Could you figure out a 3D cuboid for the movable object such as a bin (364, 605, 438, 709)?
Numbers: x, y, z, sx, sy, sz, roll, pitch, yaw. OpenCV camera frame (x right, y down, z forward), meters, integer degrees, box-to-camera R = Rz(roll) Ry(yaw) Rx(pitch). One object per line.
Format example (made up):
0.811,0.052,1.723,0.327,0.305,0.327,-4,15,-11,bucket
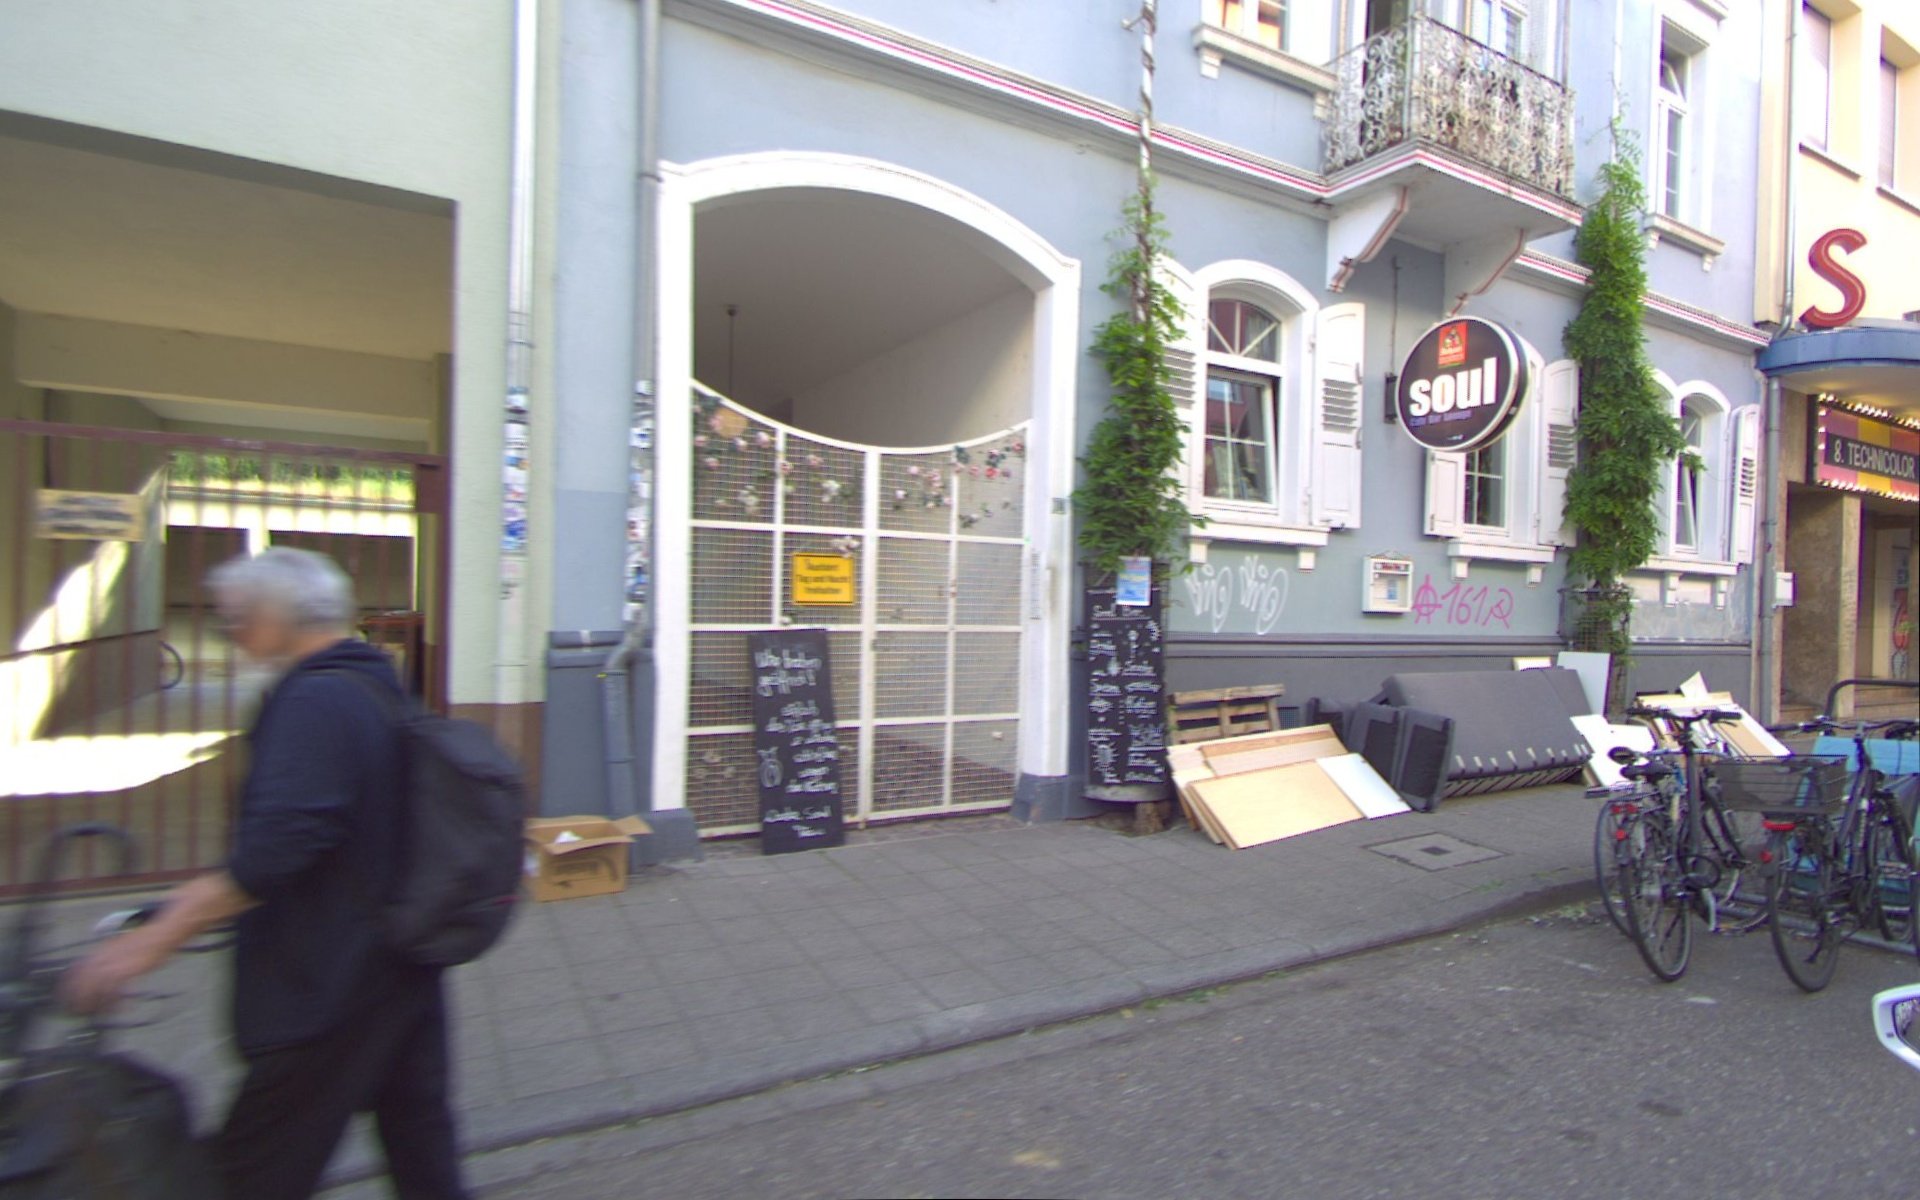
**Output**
-6.077,0.604,10.927,0.676,1.078,0.517,1,1,-30,movable object such as a bin

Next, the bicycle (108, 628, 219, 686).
-10.627,0.752,13.431,1.083,0.738,0.440,1,1,-28,bicycle

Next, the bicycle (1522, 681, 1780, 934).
3.705,1.027,5.343,1.678,1.120,0.441,1,1,-31,bicycle

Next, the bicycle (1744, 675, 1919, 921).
5.164,1.064,5.729,0.910,1.190,0.808,1,0,-32,bicycle

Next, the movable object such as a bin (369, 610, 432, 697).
-7.237,0.675,13.002,0.676,1.078,0.517,1,1,-30,movable object such as a bin

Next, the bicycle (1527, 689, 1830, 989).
3.420,1.024,4.719,1.853,1.120,0.441,1,1,-31,bicycle

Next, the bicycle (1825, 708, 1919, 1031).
4.275,1.030,4.137,1.808,1.120,0.497,1,1,-30,bicycle

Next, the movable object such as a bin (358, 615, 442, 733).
-5.433,0.702,9.759,0.676,1.078,0.517,1,1,-30,movable object such as a bin

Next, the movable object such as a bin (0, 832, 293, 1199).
-1.592,0.990,1.801,0.579,0.909,0.840,2,1,-30,movable object such as a bin

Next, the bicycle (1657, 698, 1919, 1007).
3.963,1.063,4.632,1.909,1.120,0.441,1,1,-30,bicycle

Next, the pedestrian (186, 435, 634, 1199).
-1.115,0.603,2.080,0.664,1.730,0.709,2,1,-30,pedestrian
